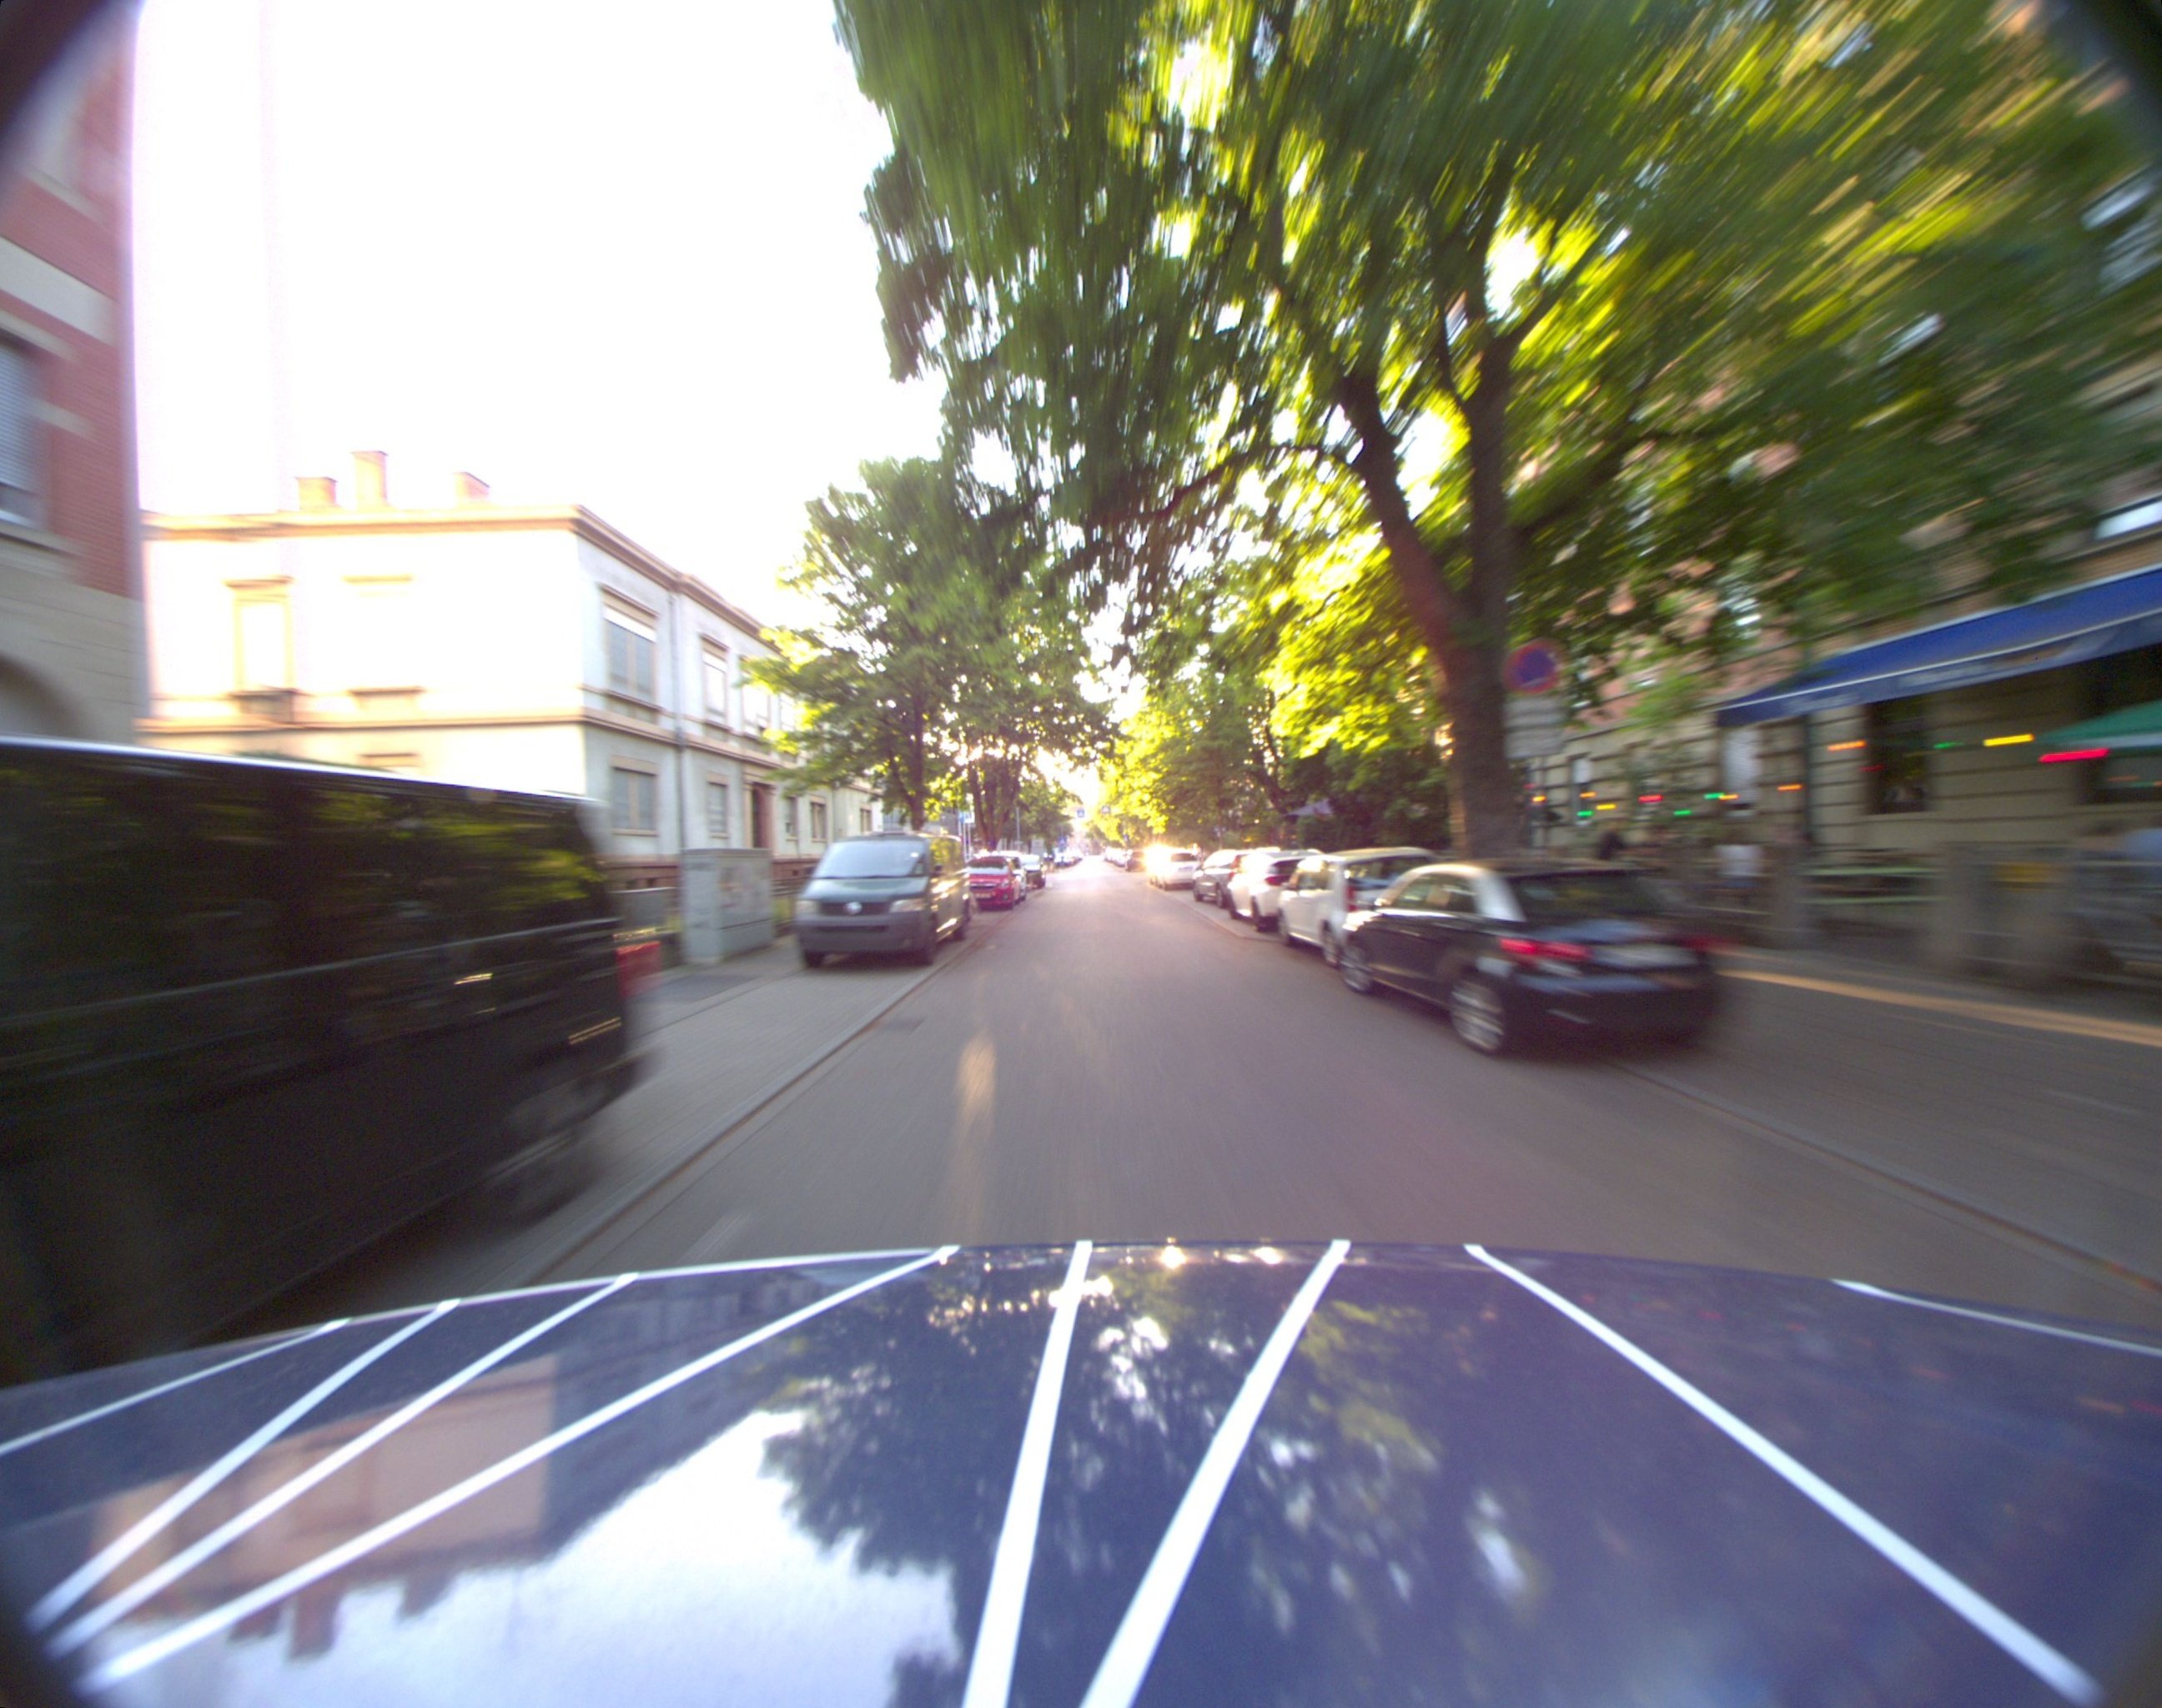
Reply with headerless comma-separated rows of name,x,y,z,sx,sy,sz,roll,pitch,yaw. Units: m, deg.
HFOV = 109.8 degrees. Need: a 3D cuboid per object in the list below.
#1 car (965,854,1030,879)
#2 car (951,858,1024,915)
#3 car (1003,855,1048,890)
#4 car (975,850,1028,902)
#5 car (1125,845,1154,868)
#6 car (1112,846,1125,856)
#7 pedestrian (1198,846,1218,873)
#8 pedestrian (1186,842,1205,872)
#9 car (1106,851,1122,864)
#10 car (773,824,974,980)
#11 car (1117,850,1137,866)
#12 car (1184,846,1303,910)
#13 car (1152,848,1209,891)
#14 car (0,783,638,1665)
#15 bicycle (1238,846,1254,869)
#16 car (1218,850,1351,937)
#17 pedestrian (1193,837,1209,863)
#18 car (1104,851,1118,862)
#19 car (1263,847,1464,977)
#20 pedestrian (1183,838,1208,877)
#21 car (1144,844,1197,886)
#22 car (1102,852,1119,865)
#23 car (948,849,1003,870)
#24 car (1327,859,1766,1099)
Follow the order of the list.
car,-5.231,0.786,47.248,1.816,1.492,4.161,-1,-1,-43
car,-2.621,0.863,22.007,1.668,1.491,3.693,1,0,-1
car,-2.586,0.828,36.199,1.735,1.547,3.963,1,0,2
car,-2.793,0.706,26.346,1.669,1.669,4.117,1,0,-7
car,4.611,0.167,60.083,1.871,1.678,4.592,-3,0,0
car,5.443,-0.413,111.356,1.617,1.433,4.104,-3,0,-1
pedestrian,7.591,0.316,45.547,0.688,1.621,1.051,-2,1,-25
pedestrian,7.013,0.172,46.605,0.688,1.824,1.007,-2,1,-25
car,3.995,0.432,93.526,1.617,1.433,4.310,-3,0,-1
car,-3.083,0.645,12.468,1.959,2.047,4.830,1,0,0
car,4.718,0.410,78.131,1.617,1.433,3.753,-4,0,-2
car,4.241,0.595,20.671,1.845,1.403,4.598,-4,0,-5
car,3.881,0.588,30.198,1.668,1.484,3.710,-4,0,0
car,-3.275,0.799,1.723,1.843,1.931,4.613,1,0,0
bicycle,8.691,0.151,40.059,0.392,1.137,1.746,-8,0,4
car,3.952,0.694,15.391,1.607,1.427,3.885,-4,0,1
pedestrian,8.764,-0.279,55.456,0.925,1.814,0.779,-3,4,-10
car,4.199,0.362,106.585,1.617,1.433,4.104,-3,0,-1
car,3.880,0.704,11.083,1.555,1.477,3.694,-4,0,2
pedestrian,5.959,0.178,39.621,0.869,2.002,1.008,-1,1,-19
car,3.973,0.461,34.397,1.669,1.667,3.846,-4,0,-3
car,3.341,0.496,86.947,1.617,1.433,4.310,-3,0,-1
car,-9.335,0.487,67.517,4.588,1.634,1.872,-2,0,0
car,3.570,0.809,6.689,1.555,1.477,3.693,-1,0,-1
